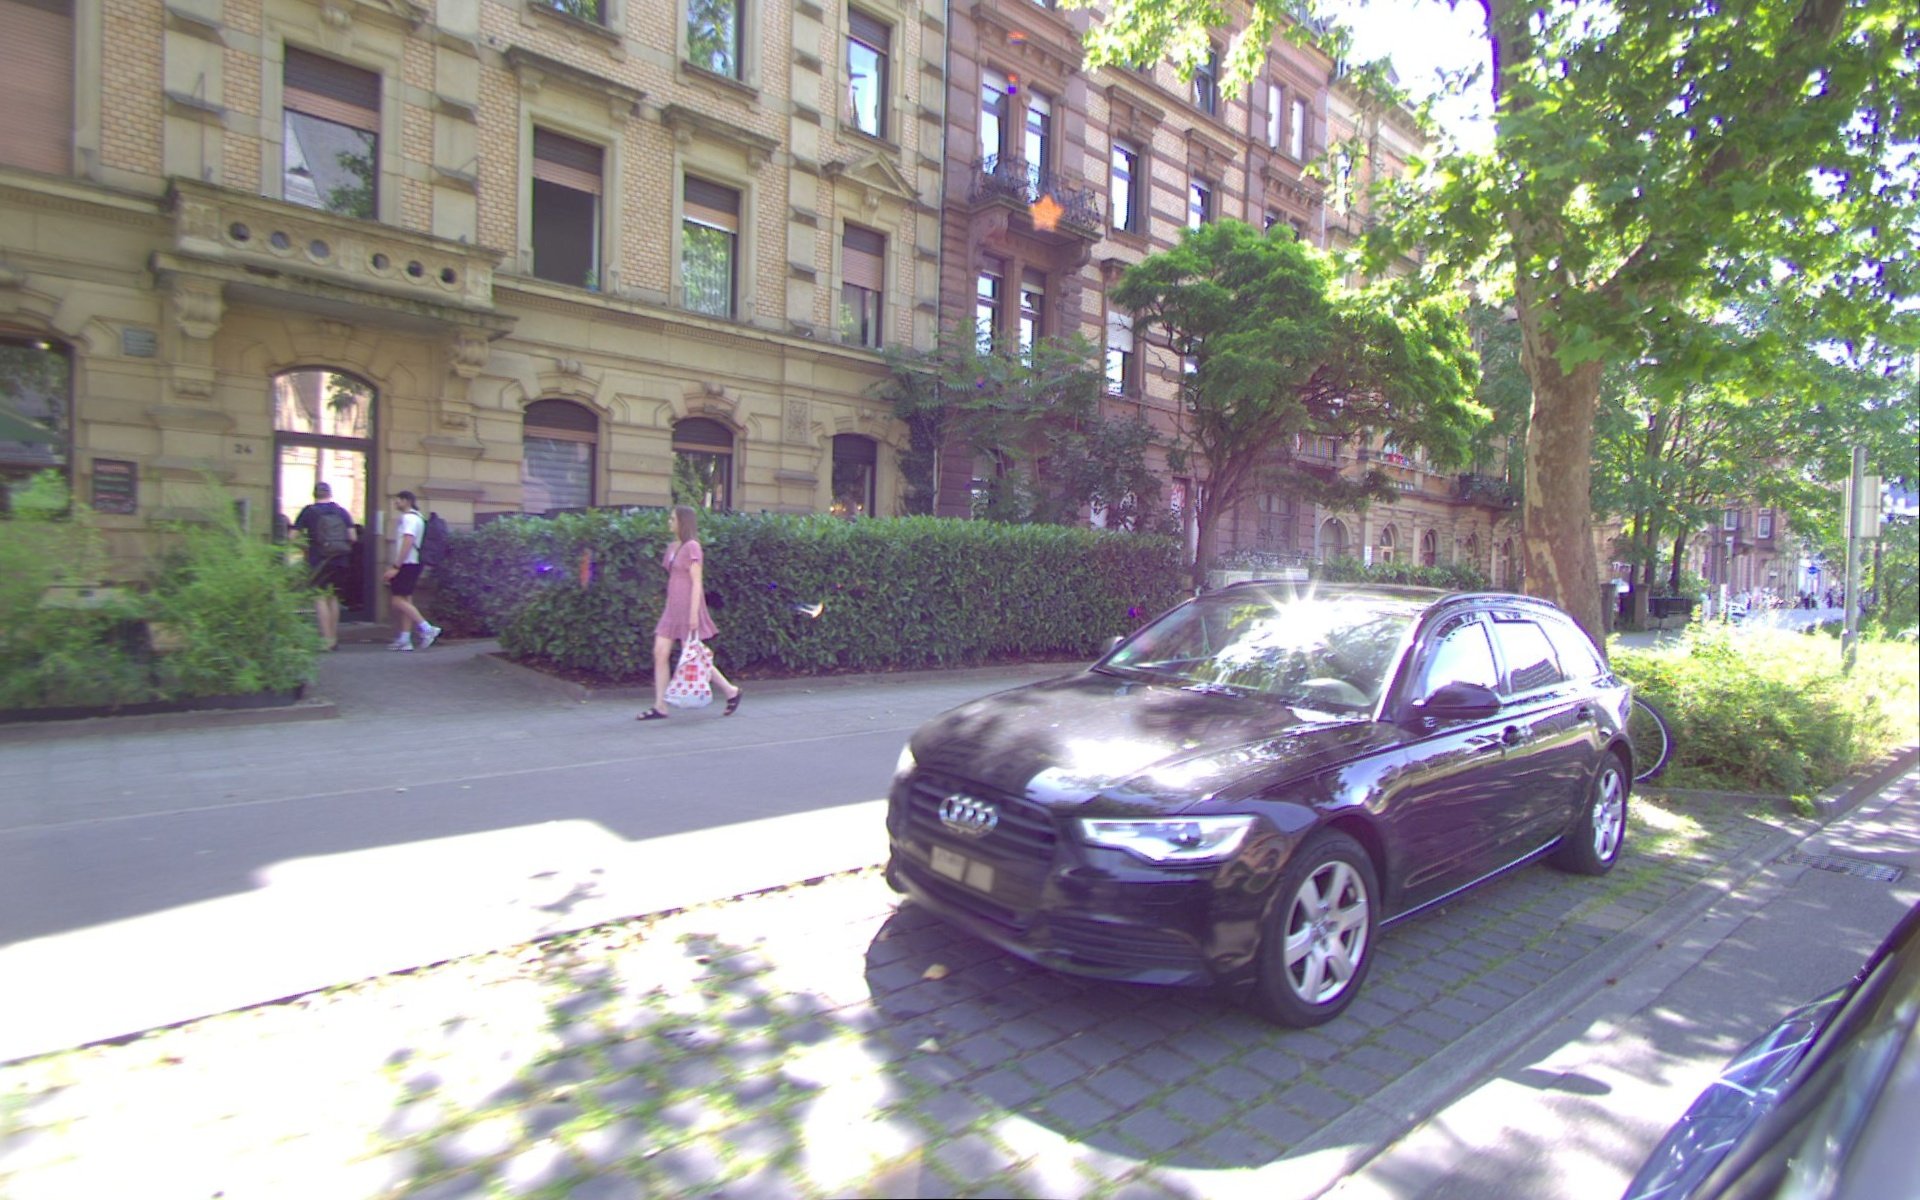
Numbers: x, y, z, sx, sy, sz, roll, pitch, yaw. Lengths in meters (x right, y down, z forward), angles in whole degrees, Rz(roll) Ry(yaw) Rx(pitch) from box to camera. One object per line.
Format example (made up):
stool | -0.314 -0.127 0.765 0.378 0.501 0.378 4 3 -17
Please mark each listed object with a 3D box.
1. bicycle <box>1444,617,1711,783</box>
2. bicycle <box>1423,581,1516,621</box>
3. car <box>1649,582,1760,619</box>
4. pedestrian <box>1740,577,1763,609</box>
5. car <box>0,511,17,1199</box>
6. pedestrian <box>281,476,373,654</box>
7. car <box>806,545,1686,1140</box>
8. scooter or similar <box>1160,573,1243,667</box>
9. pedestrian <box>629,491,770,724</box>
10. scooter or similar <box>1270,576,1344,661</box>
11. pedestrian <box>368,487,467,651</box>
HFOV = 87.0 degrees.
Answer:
bicycle | 4.620 0.724 7.672 1.615 1.102 0.470 2 2 16
bicycle | 16.031 0.020 31.874 2.559 1.125 1.101 3 2 29
car | 35.092 -0.009 47.755 4.075 1.535 1.861 3 3 40
pedestrian | 43.653 -0.387 55.820 0.951 1.739 0.796 0 2 -42
car | -3.391 0.621 0.357 1.834 1.526 4.420 4 3 44
pedestrian | -7.011 -0.401 11.199 0.725 1.874 0.852 0 4 -40
car | 1.713 0.585 4.813 4.563 1.526 1.837 0 3 -42
scooter or similar | 3.445 0.266 14.423 1.125 1.262 0.583 0 2 -42
pedestrian | -2.167 0.033 8.402 0.838 1.806 0.737 0 4 -42
scooter or similar | 5.530 0.279 16.104 1.124 1.298 0.583 0 2 -40
pedestrian | -6.243 -0.373 11.651 0.849 1.806 0.727 5 4 41
